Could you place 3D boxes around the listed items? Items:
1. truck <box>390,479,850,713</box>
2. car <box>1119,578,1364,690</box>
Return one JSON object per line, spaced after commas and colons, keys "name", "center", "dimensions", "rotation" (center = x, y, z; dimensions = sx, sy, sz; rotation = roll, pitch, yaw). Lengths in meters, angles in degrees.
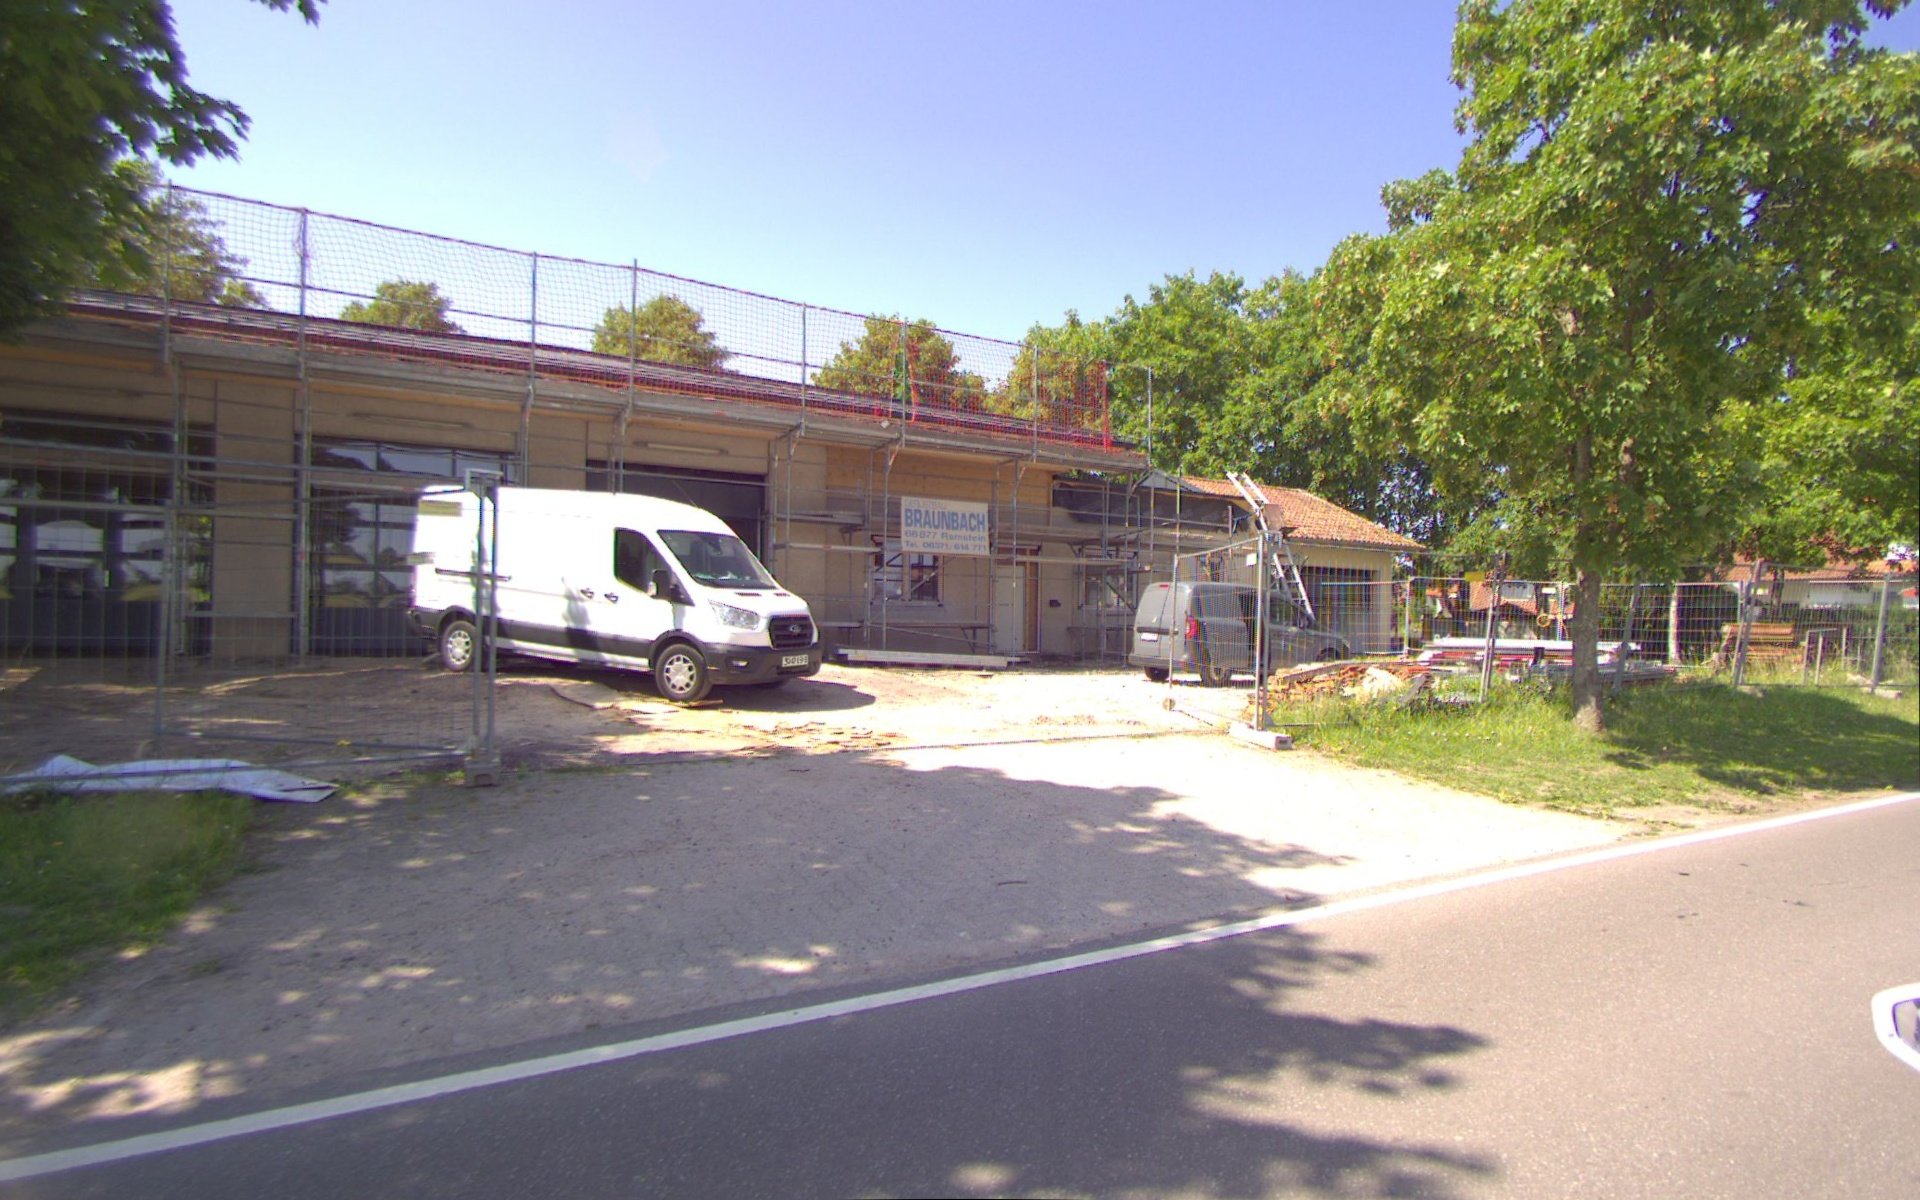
{"name": "truck", "center": [-4.558, -0.159, 13.297], "dimensions": [5.818, 2.516, 1.999], "rotation": [4, 0, 24]}
{"name": "car", "center": [5.263, 0.606, 18.661], "dimensions": [4.277, 1.862, 1.961], "rotation": [1, 0, -30]}
